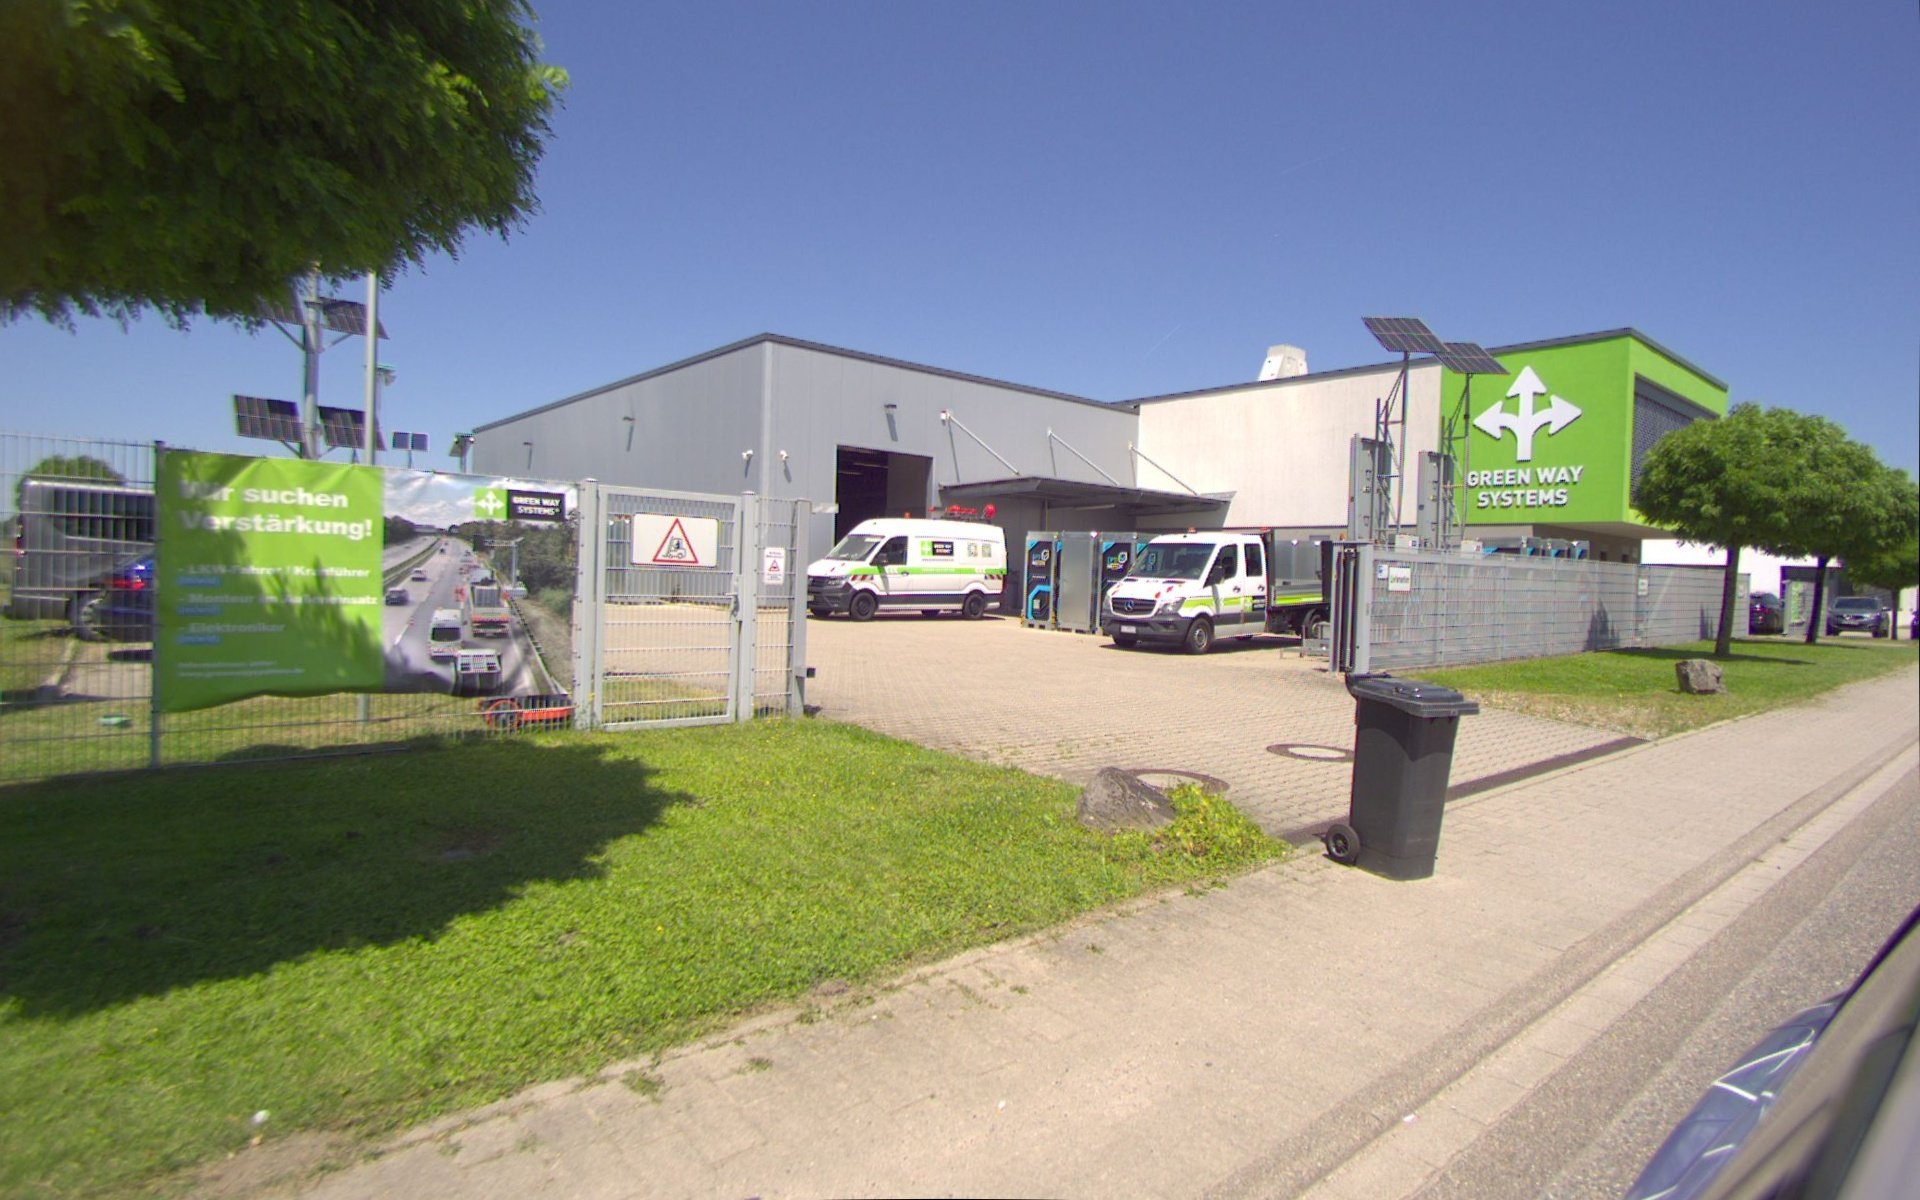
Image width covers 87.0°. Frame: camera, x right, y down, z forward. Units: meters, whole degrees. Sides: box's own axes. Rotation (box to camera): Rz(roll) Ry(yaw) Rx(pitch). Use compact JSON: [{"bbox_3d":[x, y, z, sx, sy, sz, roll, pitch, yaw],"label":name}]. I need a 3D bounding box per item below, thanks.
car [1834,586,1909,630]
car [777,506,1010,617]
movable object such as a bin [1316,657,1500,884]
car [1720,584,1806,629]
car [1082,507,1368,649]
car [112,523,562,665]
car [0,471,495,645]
[{"bbox_3d":[36.004,0.297,39.955,3.952,1.653,1.726,0,1,-41],"label":"car"},{"bbox_3d":[-1.580,-0.963,25.874,5.758,2.524,2.134,0,4,-41],"label":"car"},{"bbox_3d":[2.162,0.789,4.909,0.511,0.939,0.555,0,5,-31],"label":"movable object such as a bin"},{"bbox_3d":[29.278,0.196,36.860,3.985,1.415,1.741,-2,4,-41],"label":"car"},{"bbox_3d":[5.720,-0.487,21.101,6.902,2.524,2.134,0,4,-41],"label":"car"},{"bbox_3d":[-7.613,-0.088,12.632,4.530,1.456,1.998,1,2,-41],"label":"car"},{"bbox_3d":[-9.776,-0.504,14.216,5.555,2.021,1.998,1,2,-41],"label":"car"}]
